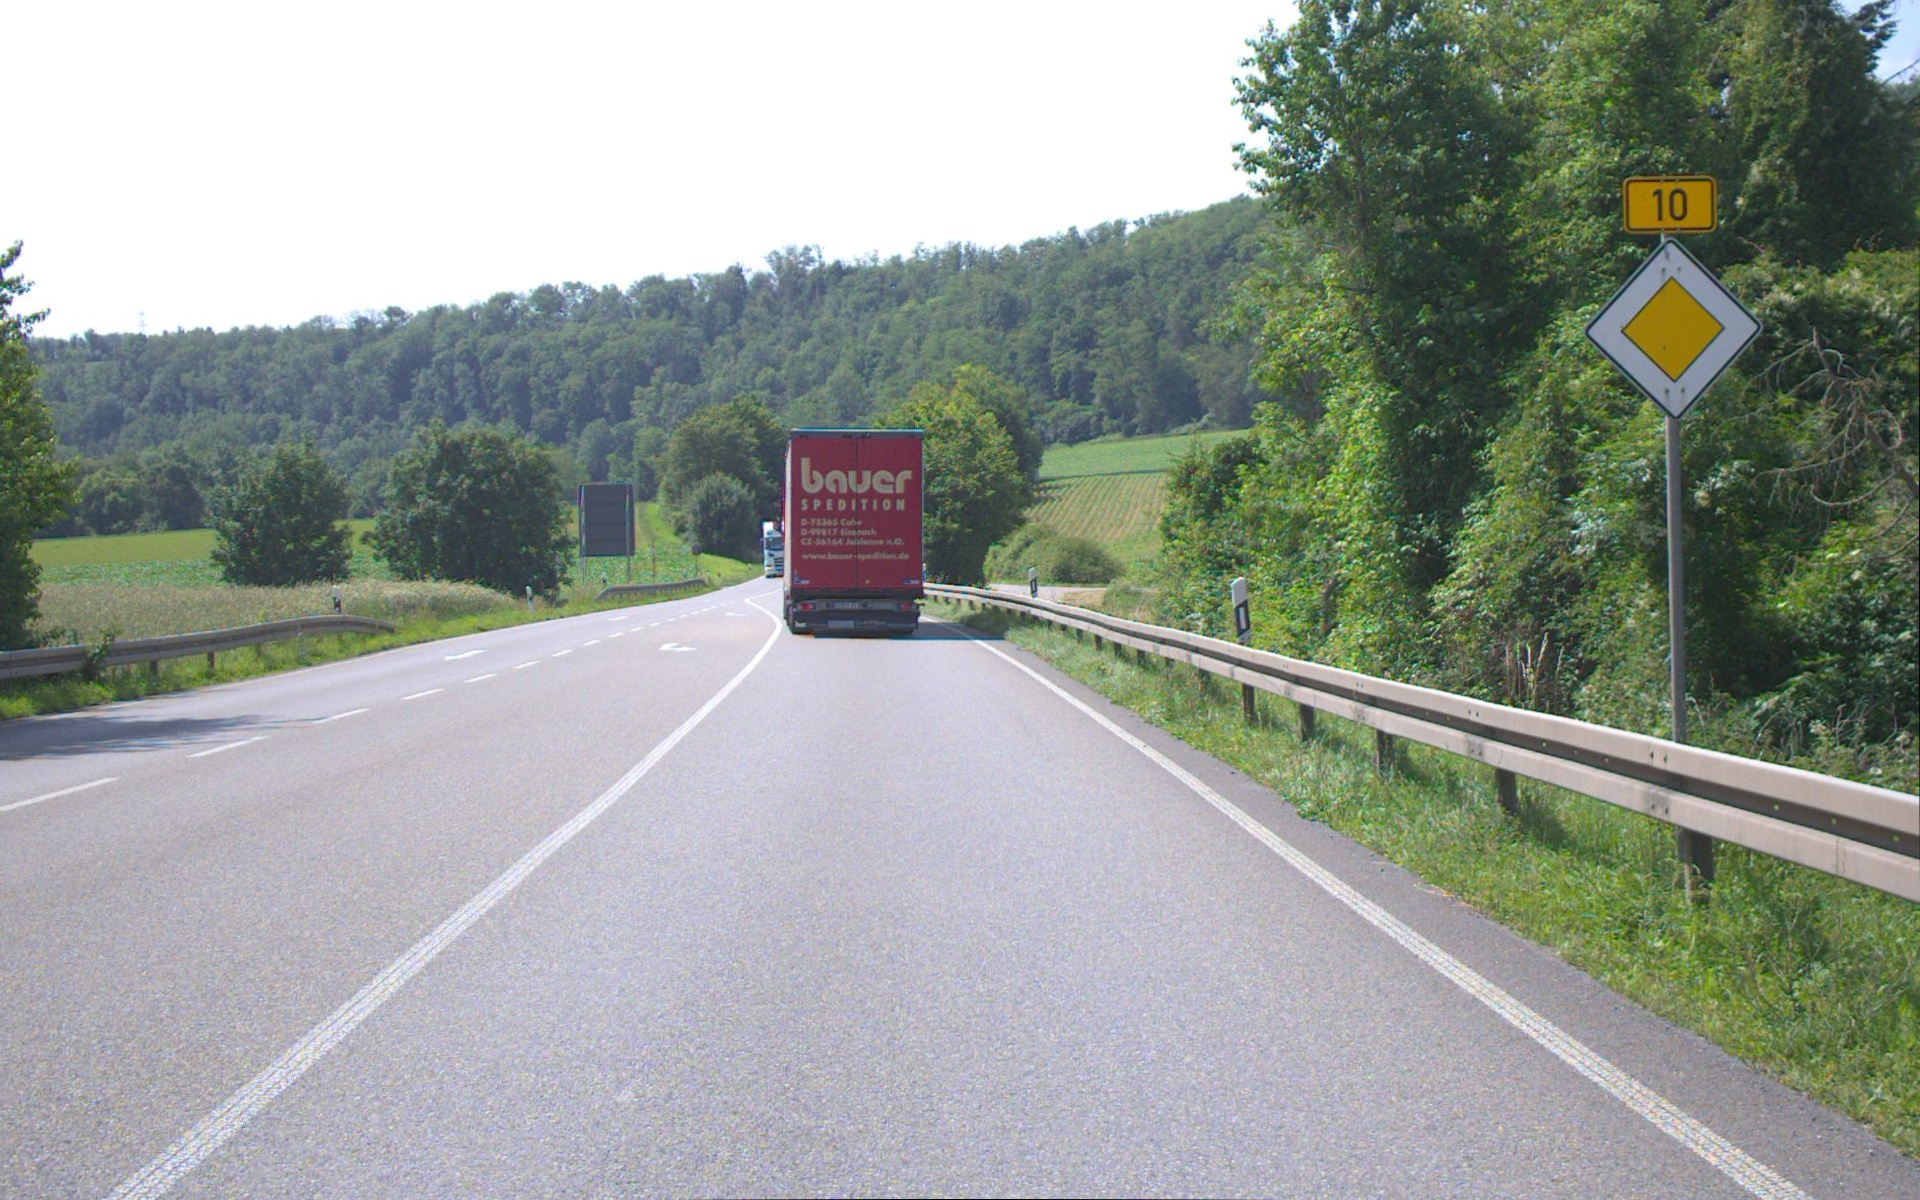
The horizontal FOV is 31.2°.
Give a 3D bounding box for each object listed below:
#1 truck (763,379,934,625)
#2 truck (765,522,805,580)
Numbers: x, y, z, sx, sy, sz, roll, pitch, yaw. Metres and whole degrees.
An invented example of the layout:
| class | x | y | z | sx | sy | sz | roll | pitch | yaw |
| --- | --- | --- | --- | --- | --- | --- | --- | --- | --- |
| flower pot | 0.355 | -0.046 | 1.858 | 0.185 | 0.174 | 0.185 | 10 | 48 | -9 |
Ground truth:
| class | x | y | z | sx | sy | sz | roll | pitch | yaw |
| --- | --- | --- | --- | --- | --- | --- | --- | --- | --- |
| truck | -2.379 | -1.977 | 71.773 | 3.172 | 4.609 | 13.545 | -1 | 1 | -2 |
| truck | -12.646 | -3.528 | 248.352 | 2.530 | 4.105 | 6.021 | -2 | 1 | -1 |
